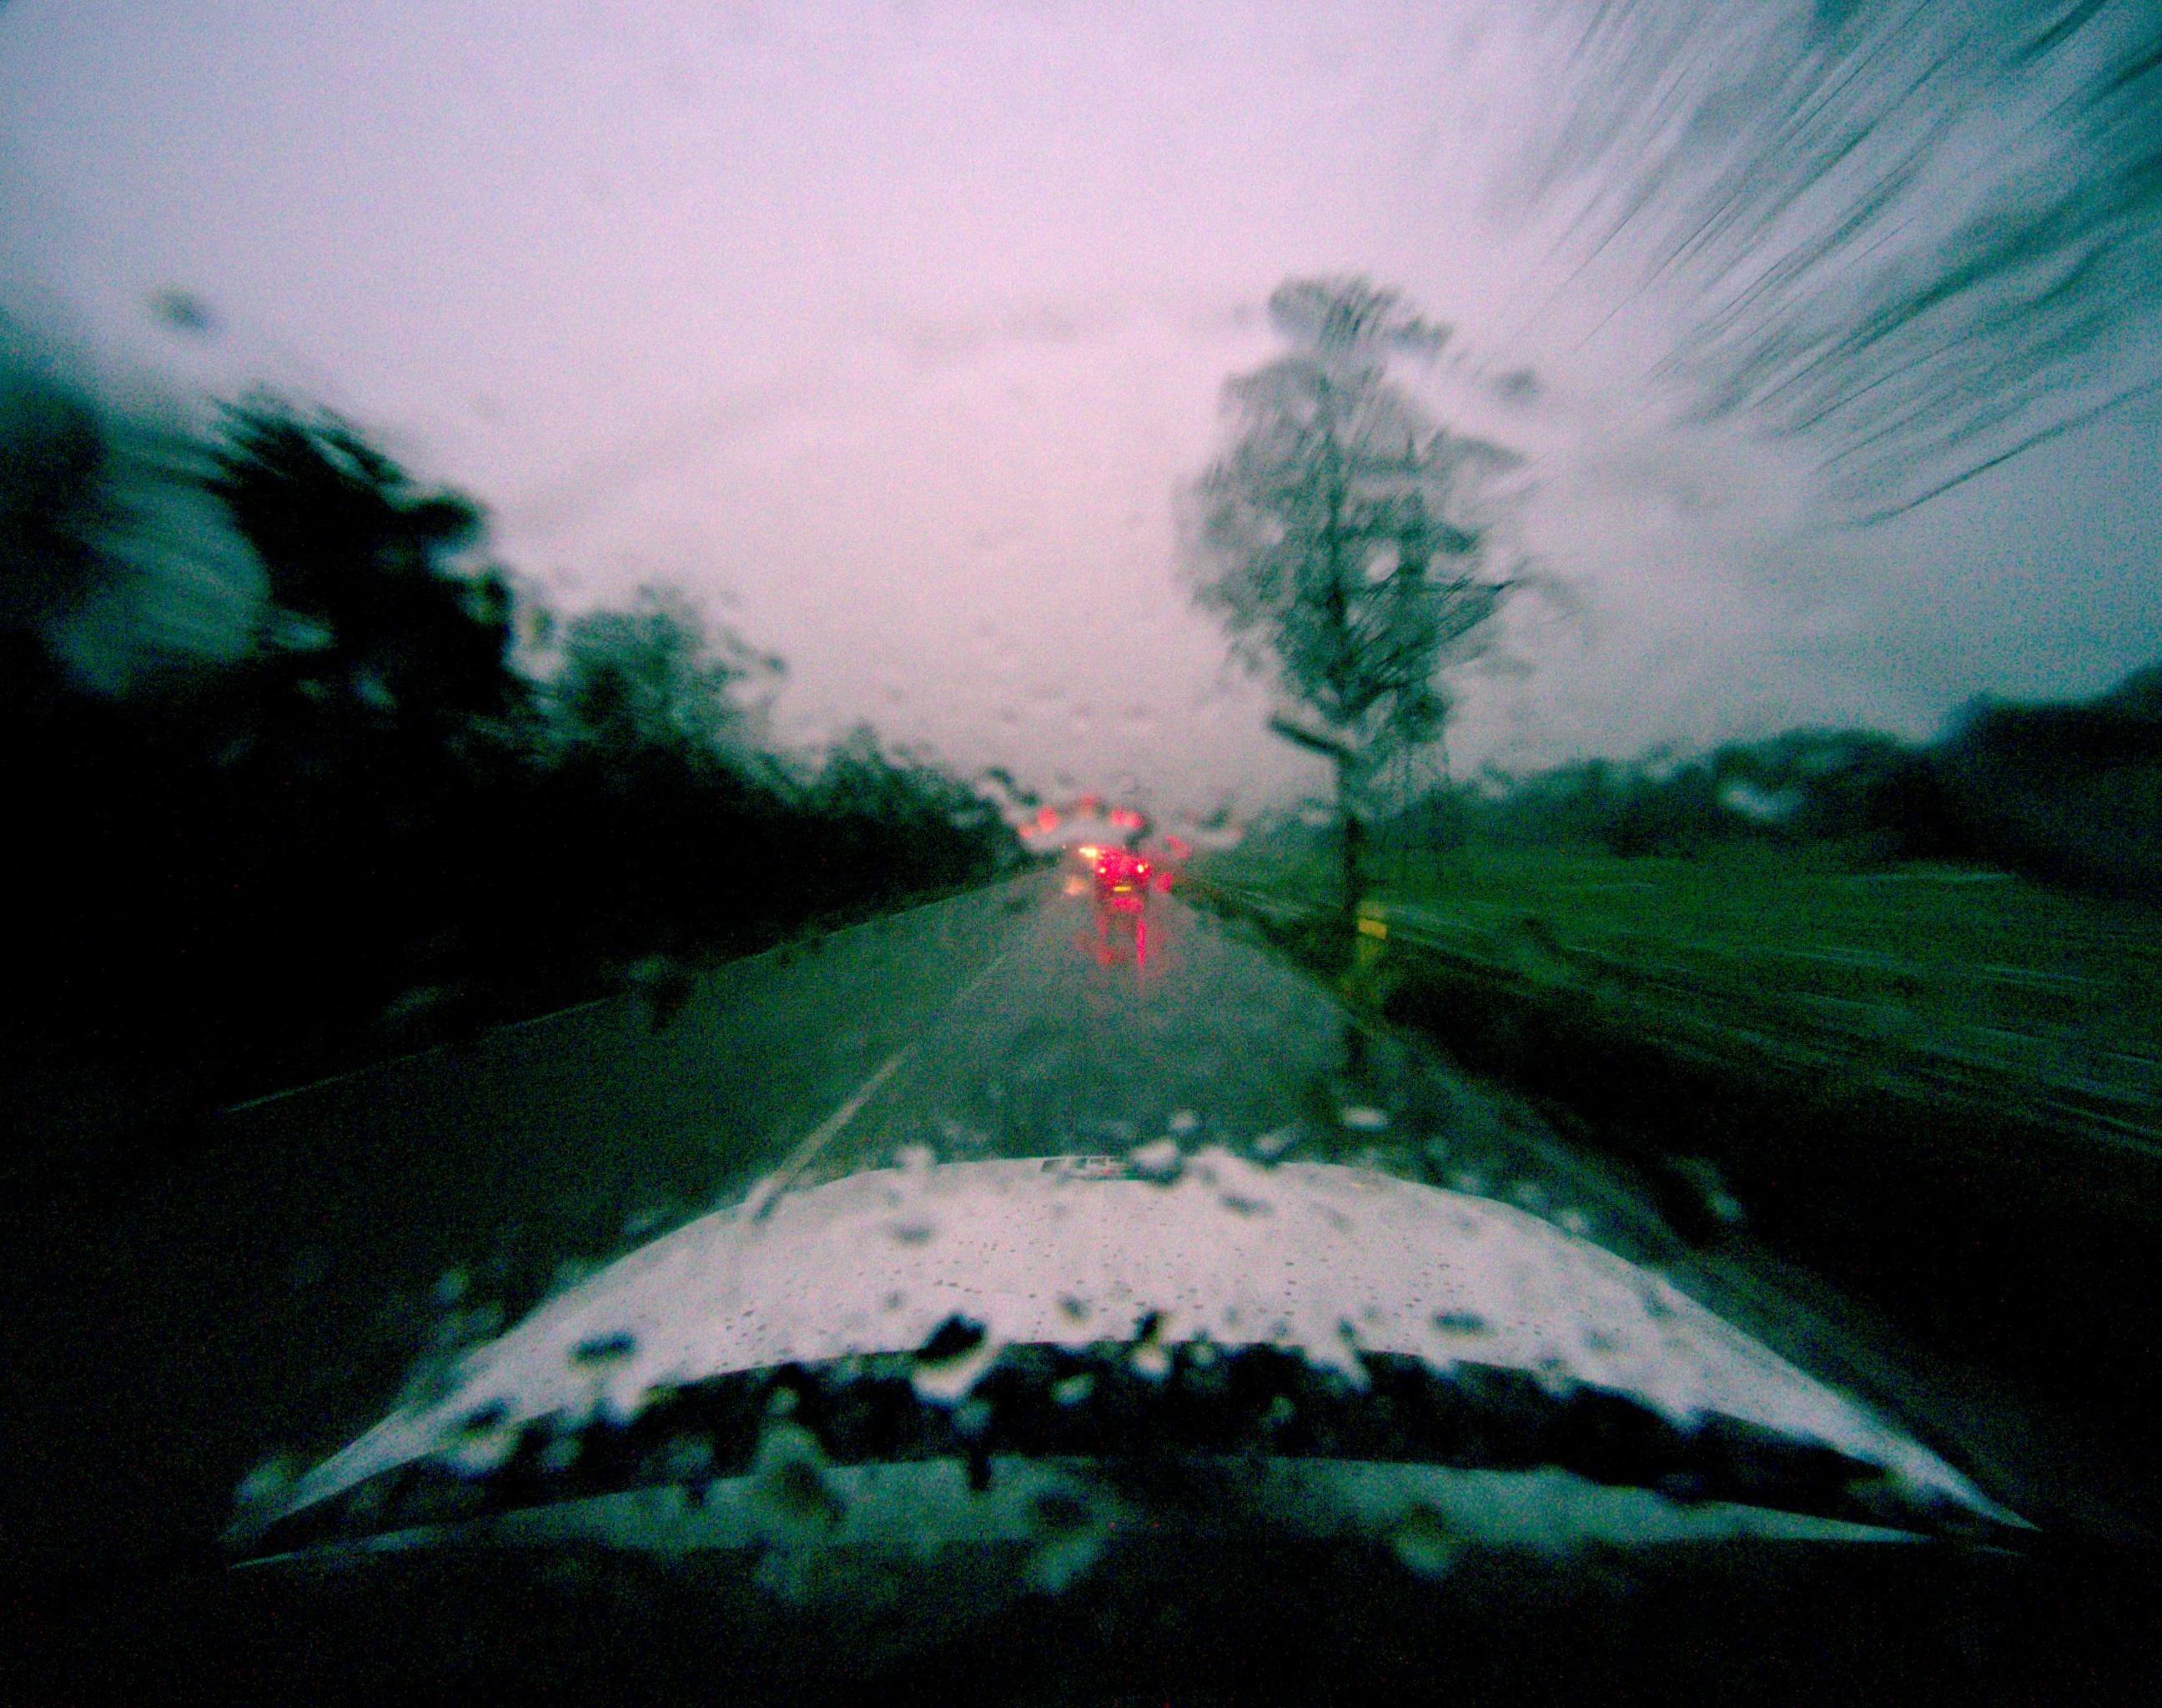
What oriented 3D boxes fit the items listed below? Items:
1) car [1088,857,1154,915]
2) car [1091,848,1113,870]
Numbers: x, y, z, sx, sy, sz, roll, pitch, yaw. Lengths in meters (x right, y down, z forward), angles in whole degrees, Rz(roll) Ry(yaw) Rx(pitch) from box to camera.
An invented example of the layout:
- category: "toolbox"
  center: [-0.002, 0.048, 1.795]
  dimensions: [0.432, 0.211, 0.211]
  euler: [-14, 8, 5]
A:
- category: "car"
  center: [1.296, 0.992, 27.168]
  dimensions: [1.986, 1.752, 4.002]
  euler: [-1, 0, 2]
- category: "car"
  center: [2.101, 0.452, 80.444]
  dimensions: [1.985, 2.013, 4.004]
  euler: [0, 2, 3]
